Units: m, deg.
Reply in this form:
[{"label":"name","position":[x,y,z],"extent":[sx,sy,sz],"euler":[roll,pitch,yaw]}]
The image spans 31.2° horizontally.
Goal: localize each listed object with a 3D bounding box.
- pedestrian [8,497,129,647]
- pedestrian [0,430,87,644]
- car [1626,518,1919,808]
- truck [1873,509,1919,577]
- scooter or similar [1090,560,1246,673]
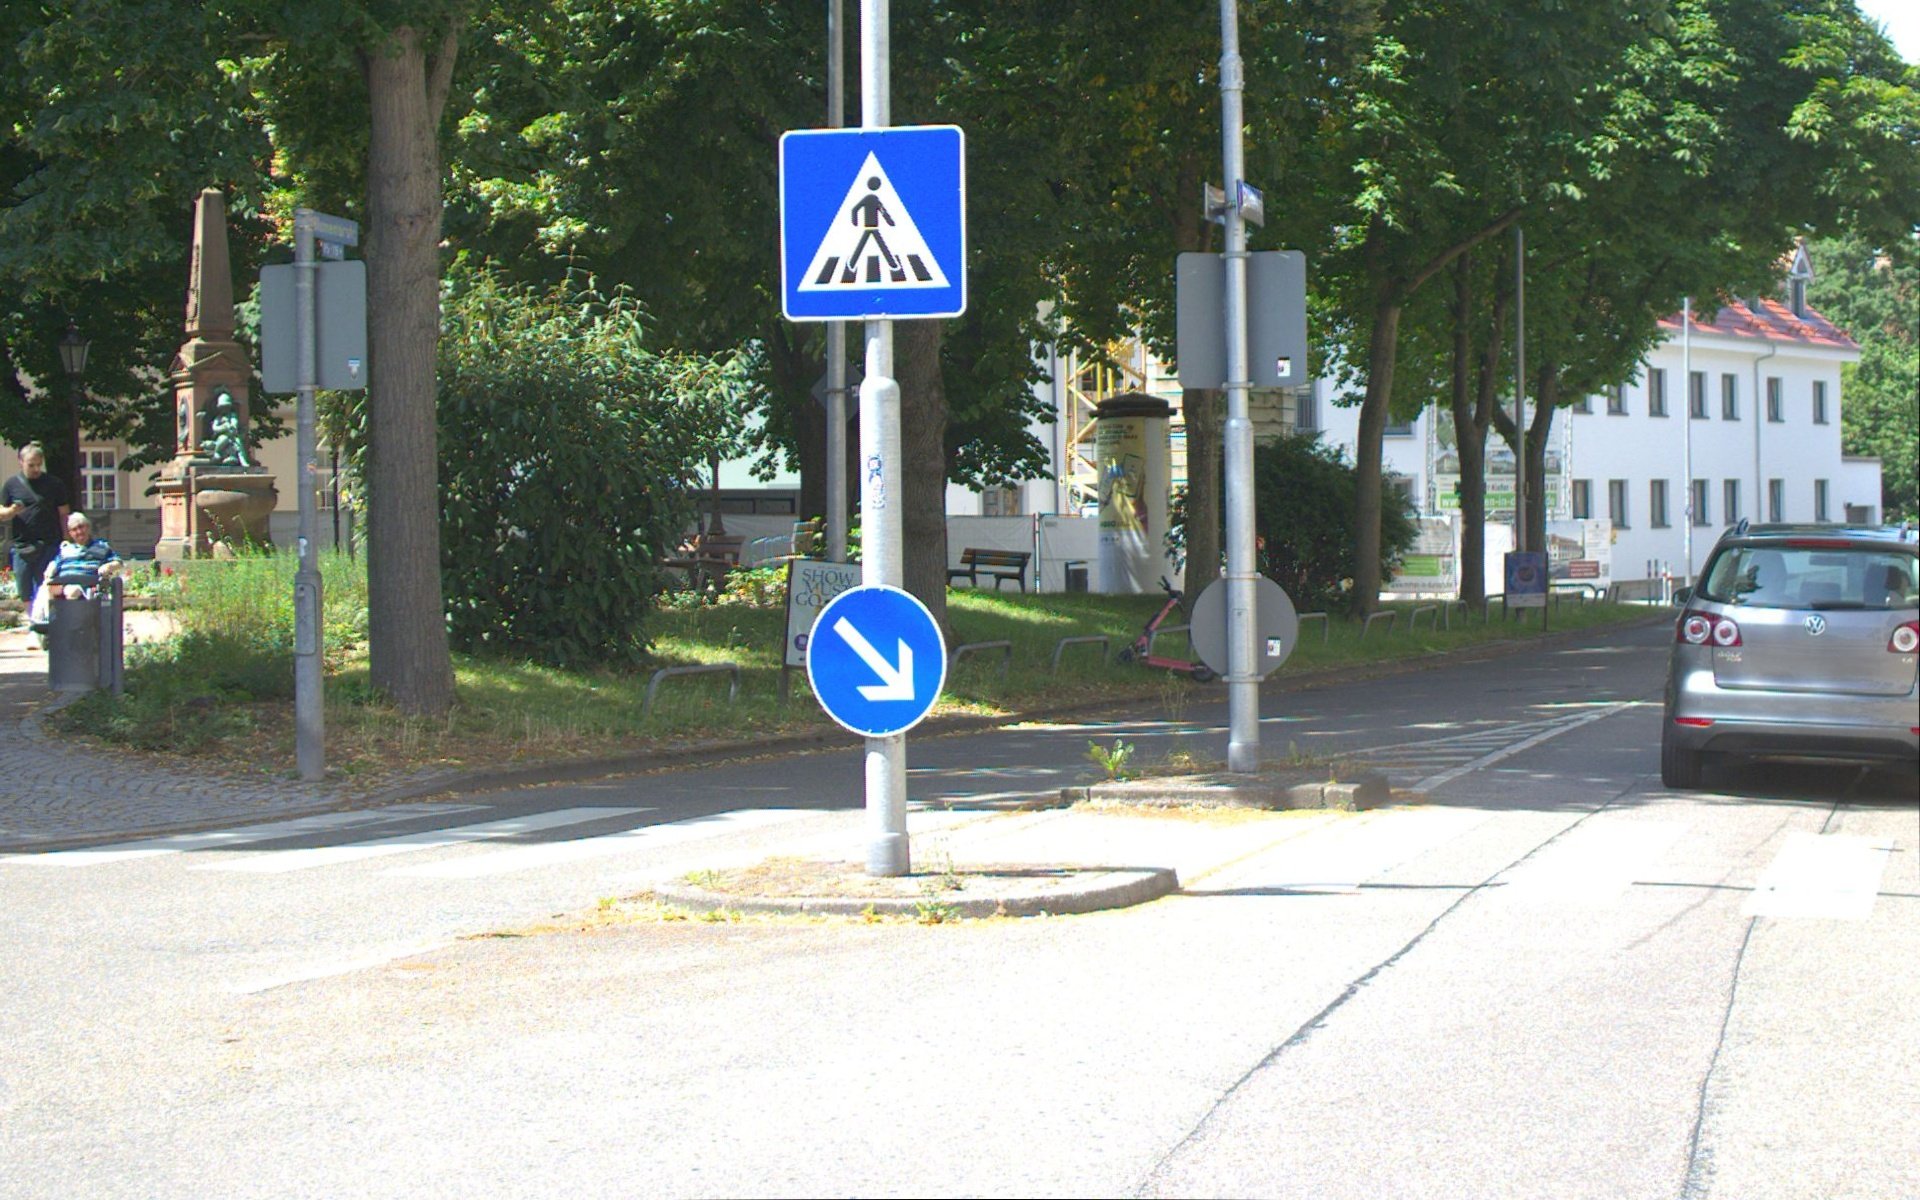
[{"label":"pedestrian","position":[-7.791,-0.259,30.098],"extent":[0.905,1.247,1.148],"euler":[-1,3,-10]},{"label":"pedestrian","position":[-8.282,-0.577,30.926],"extent":[0.747,1.904,0.684],"euler":[-1,3,-10]},{"label":"car","position":[5.238,0.300,21.099],"extent":[1.905,1.528,4.241],"euler":[3,2,15]},{"label":"truck","position":[29.783,-1.725,102.489],"extent":[4.795,2.007,2.145],"euler":[0,1,10]},{"label":"scooter or similar","position":[2.214,0.161,36.407],"extent":[1.273,0.988,1.451],"euler":[8,3,14]}]
